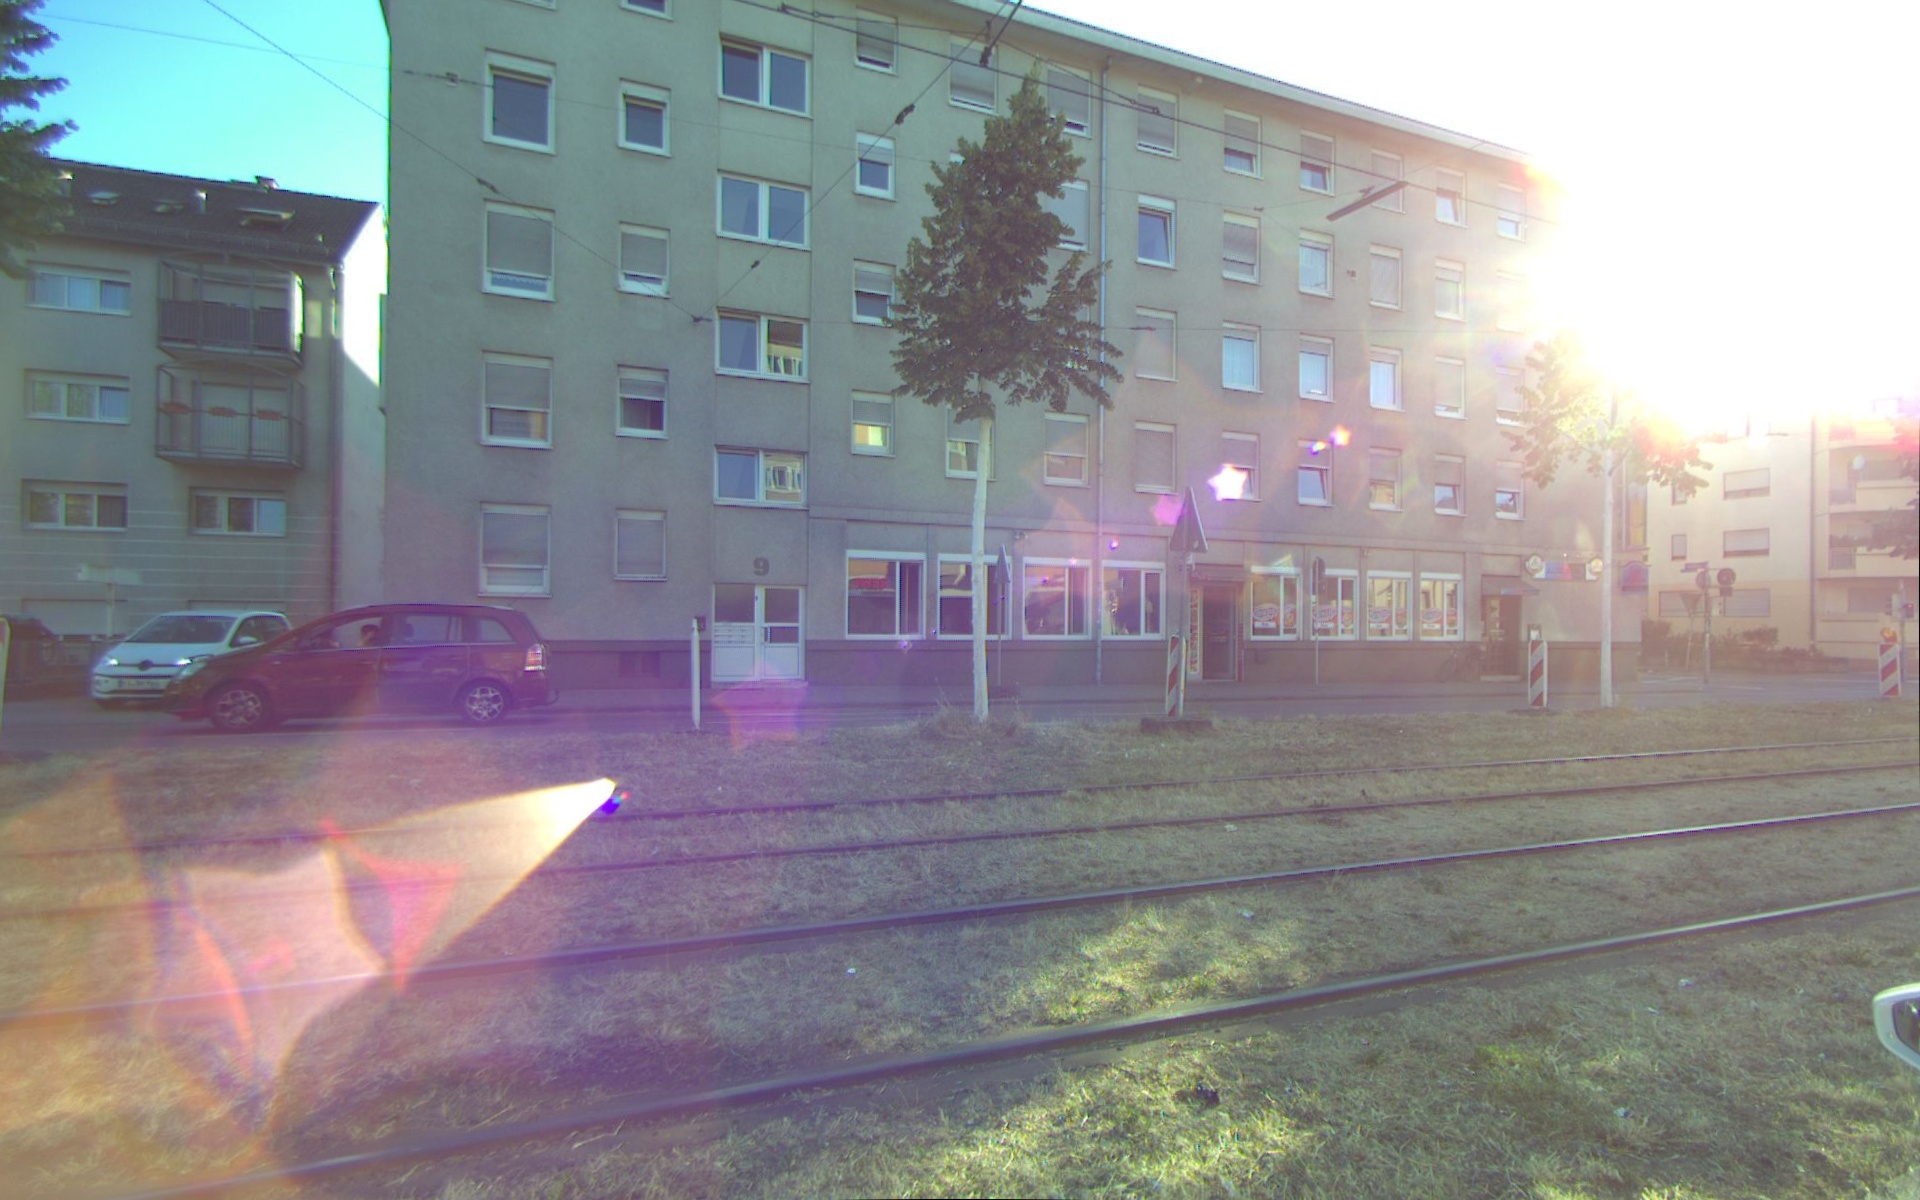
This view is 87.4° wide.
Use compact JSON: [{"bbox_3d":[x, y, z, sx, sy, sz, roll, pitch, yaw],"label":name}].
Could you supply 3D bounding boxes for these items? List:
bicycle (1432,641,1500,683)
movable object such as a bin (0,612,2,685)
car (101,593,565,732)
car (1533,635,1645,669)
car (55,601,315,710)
[{"bbox_3d":[14.078,1.702,27.919,1.753,1.129,0.745,1,-1,-23],"label":"bicycle"},{"bbox_3d":[-15.765,0.893,15.841,0.738,1.419,0.661,1,-2,-25],"label":"movable object such as a bin"},{"bbox_3d":[-7.880,0.821,13.268,4.866,1.580,1.807,2,-3,-24],"label":"car"},{"bbox_3d":[28.614,2.335,45.799,1.771,1.458,3.937,2,-2,-32],"label":"car"},{"bbox_3d":[-12.278,0.872,16.264,1.786,1.532,3.821,1,-2,-12],"label":"car"}]
